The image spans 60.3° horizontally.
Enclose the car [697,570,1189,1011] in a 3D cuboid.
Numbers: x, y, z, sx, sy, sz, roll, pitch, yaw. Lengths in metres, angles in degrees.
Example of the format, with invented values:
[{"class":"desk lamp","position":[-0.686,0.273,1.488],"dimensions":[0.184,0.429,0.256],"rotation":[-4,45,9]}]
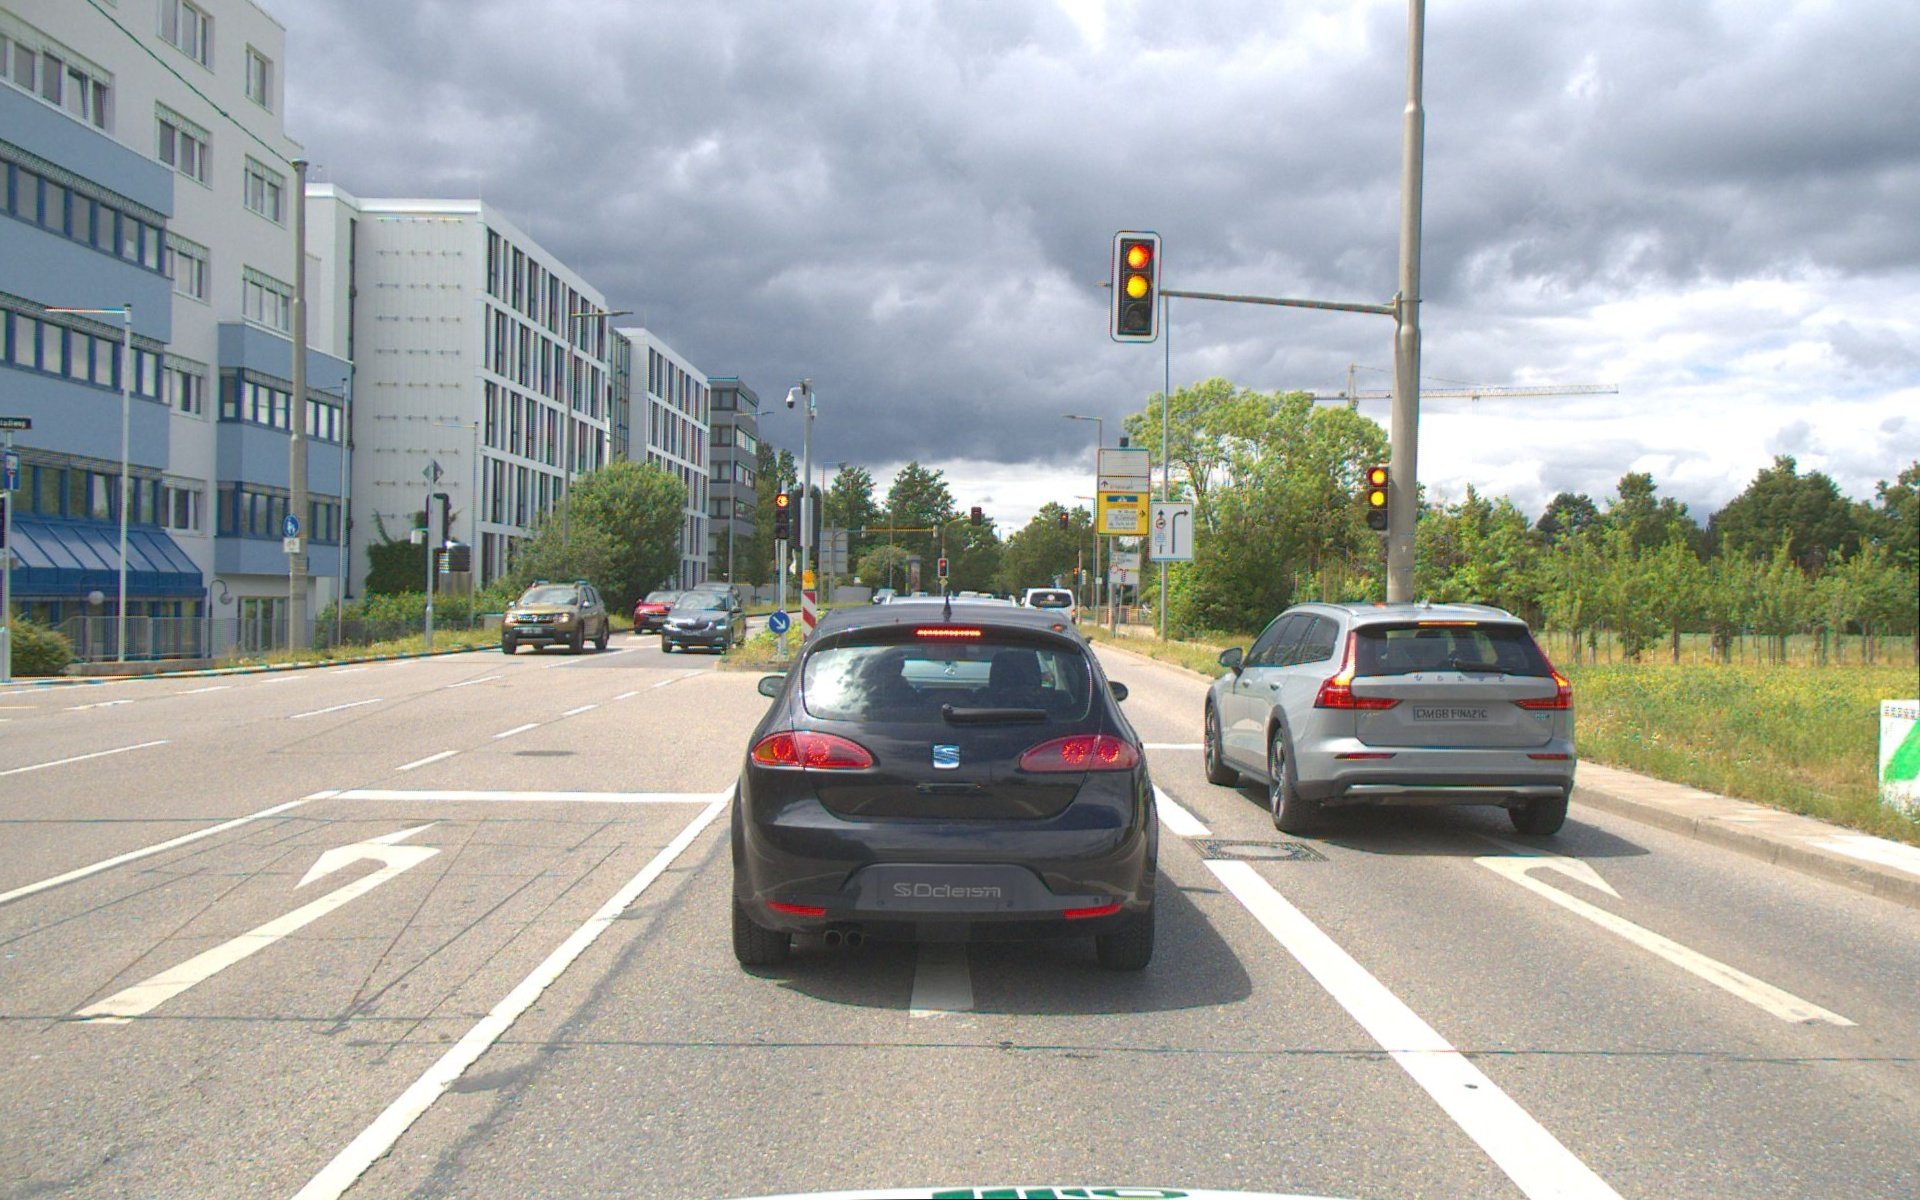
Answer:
[{"class":"car","position":[0.025,0.688,7.891],"dimensions":[1.711,1.510,4.001],"rotation":[2,0,2]}]

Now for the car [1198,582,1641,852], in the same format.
[{"class":"car","position":[3.019,0.701,11.908],"dimensions":[1.918,1.552,4.339],"rotation":[-1,0,-1]}]

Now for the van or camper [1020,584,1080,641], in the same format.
[{"class":"van or camper","position":[3.179,0.439,58.994],"dimensions":[1.860,1.959,3.999],"rotation":[0,0,-1]}]

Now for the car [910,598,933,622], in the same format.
[{"class":"car","position":[-3.424,0.890,147.081],"dimensions":[1.953,2.049,3.999],"rotation":[0,0,-1]}]

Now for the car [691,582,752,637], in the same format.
[{"class":"car","position":[-9.156,0.375,63.779],"dimensions":[1.954,2.049,4.478],"rotation":[0,0,-3]}]

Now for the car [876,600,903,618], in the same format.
[{"class":"car","position":[-5.458,0.697,127.958],"dimensions":[1.953,1.434,3.999],"rotation":[0,0,-1]}]

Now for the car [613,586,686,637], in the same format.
[{"class":"car","position":[-10.299,0.374,55.082],"dimensions":[1.740,1.640,3.999],"rotation":[0,0,-1]}]

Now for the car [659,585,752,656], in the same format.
[{"class":"car","position":[-6.123,0.455,40.159],"dimensions":[1.635,1.551,4.007],"rotation":[-2,1,-1]}]

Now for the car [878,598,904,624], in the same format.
[{"class":"car","position":[-5.364,0.864,128.911],"dimensions":[1.953,2.049,3.999],"rotation":[0,0,-1]}]

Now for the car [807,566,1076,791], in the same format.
[{"class":"car","position":[-0.185,0.583,14.200],"dimensions":[1.943,1.618,4.224],"rotation":[1,0,-2]}]

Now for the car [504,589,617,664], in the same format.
[{"class":"car","position":[-9.368,0.593,39.076],"dimensions":[1.715,1.659,3.999],"rotation":[-1,0,-1]}]
